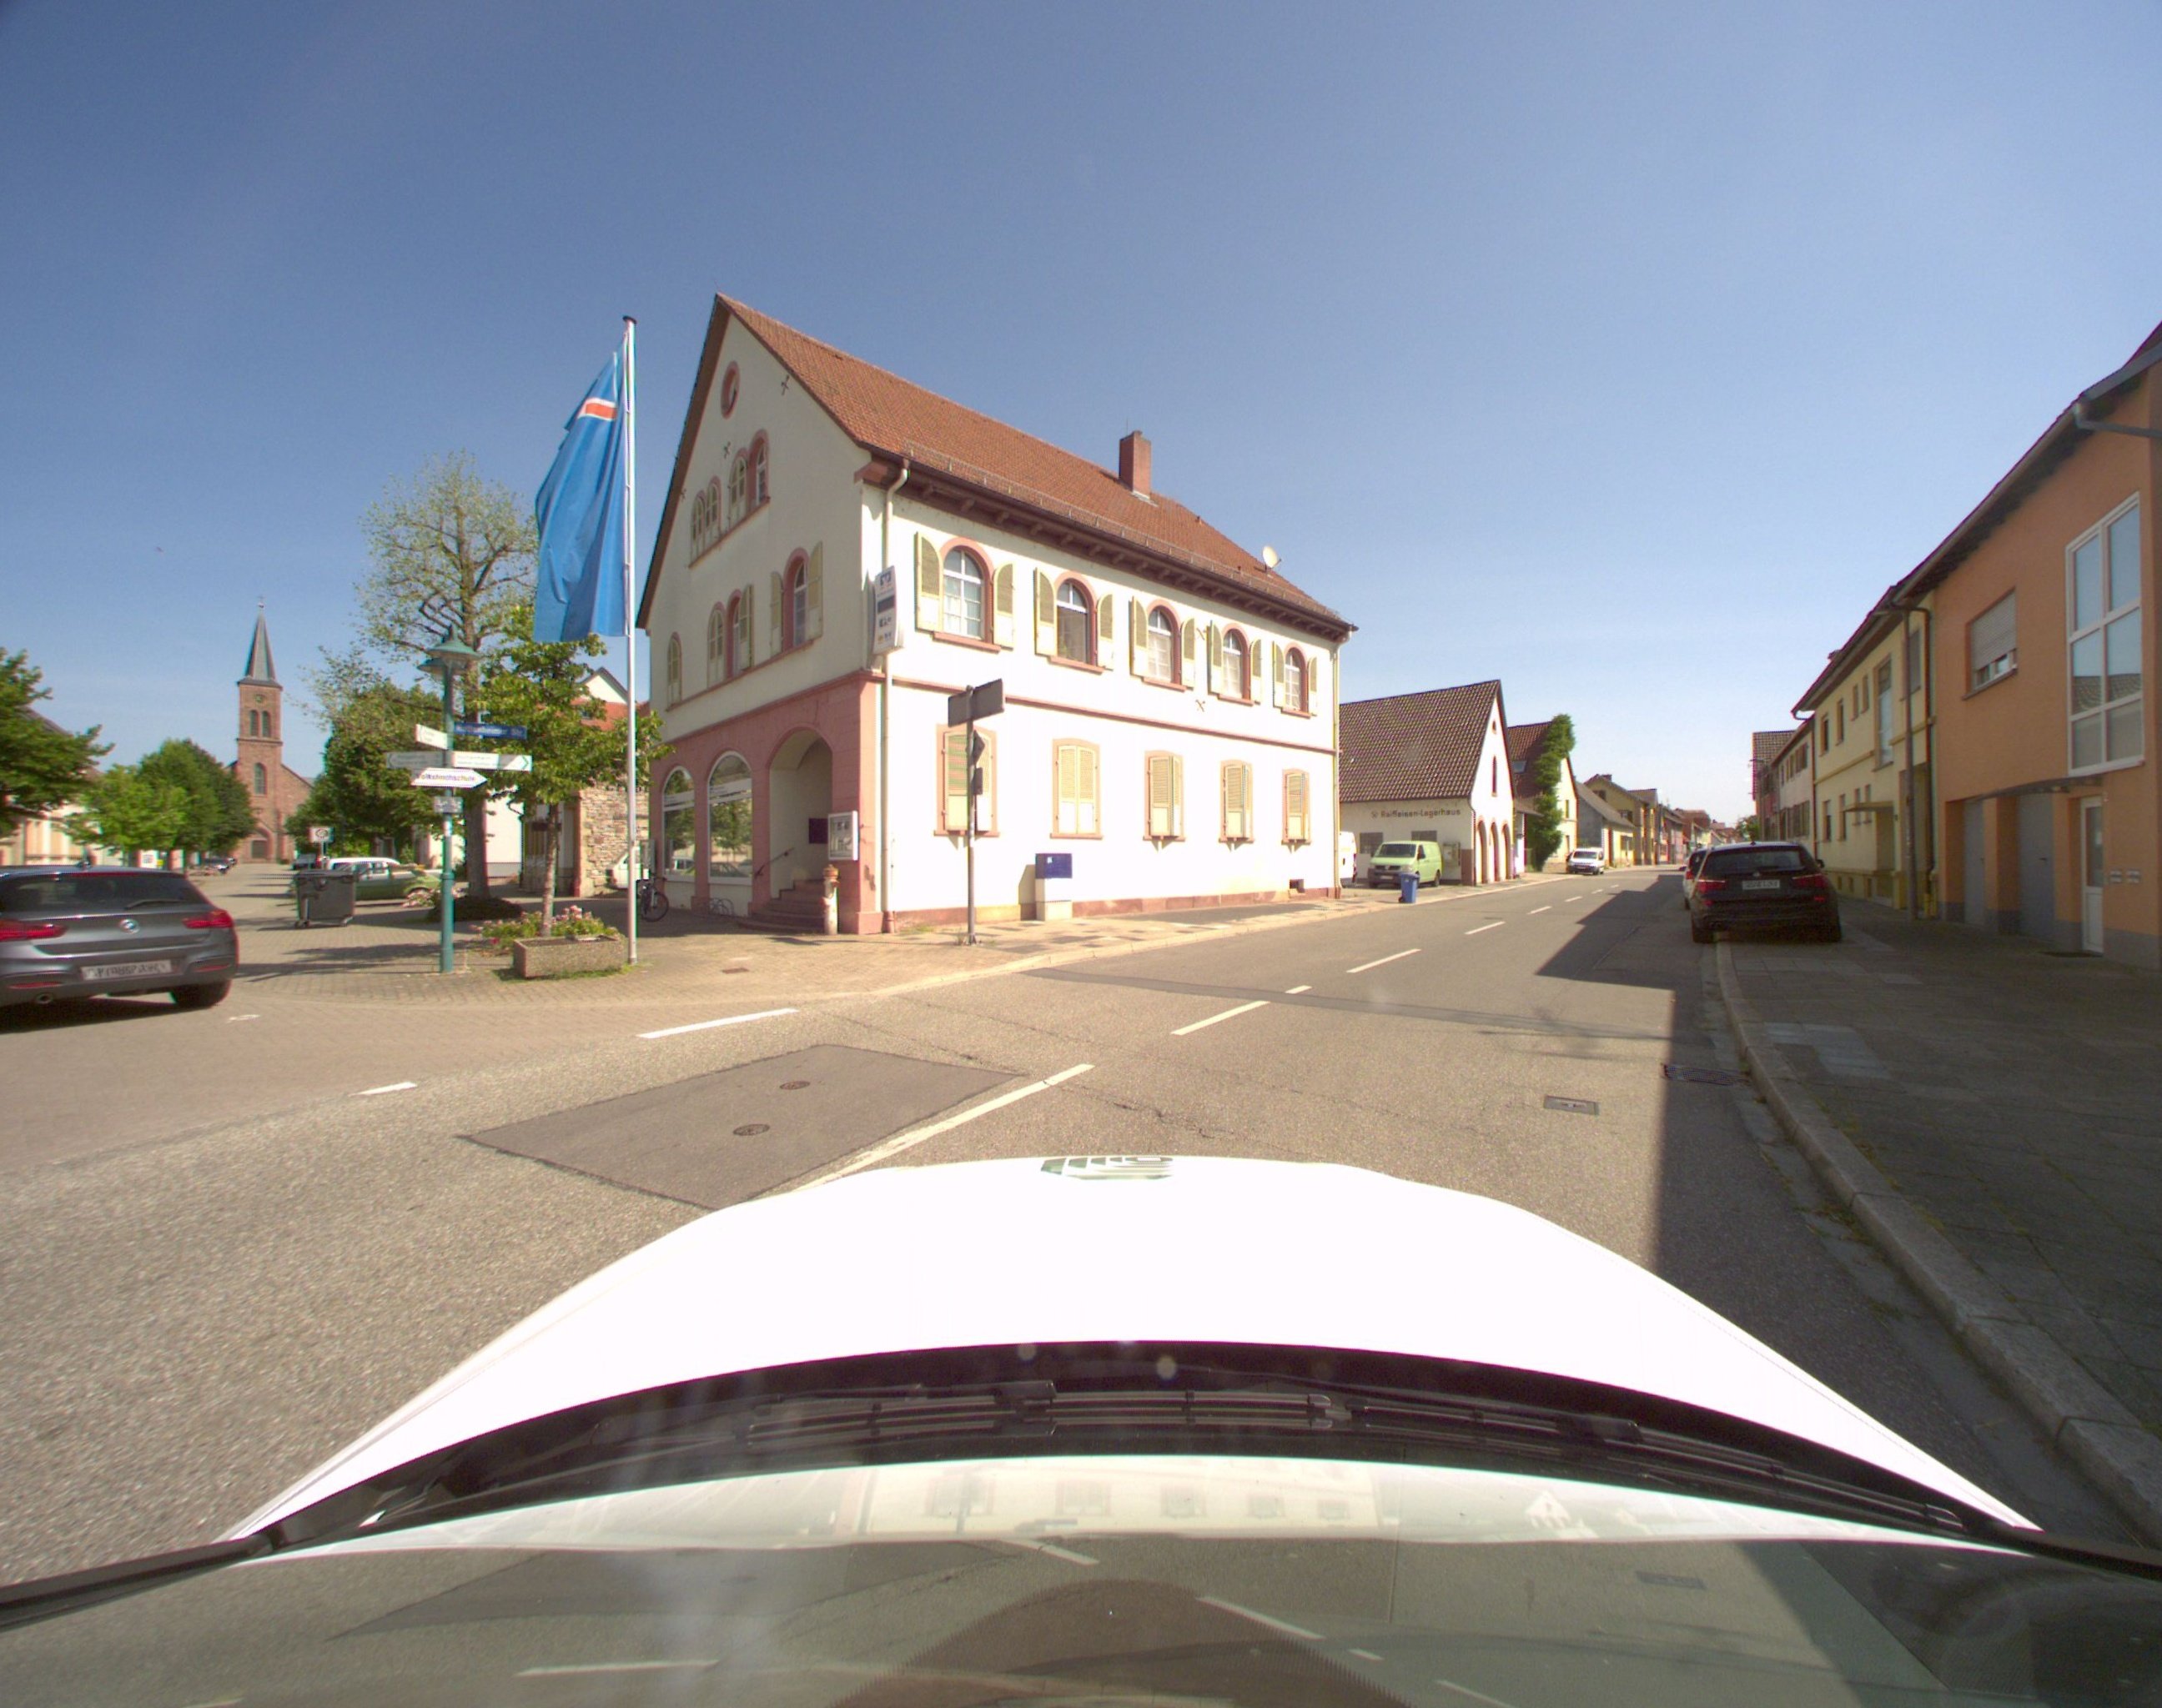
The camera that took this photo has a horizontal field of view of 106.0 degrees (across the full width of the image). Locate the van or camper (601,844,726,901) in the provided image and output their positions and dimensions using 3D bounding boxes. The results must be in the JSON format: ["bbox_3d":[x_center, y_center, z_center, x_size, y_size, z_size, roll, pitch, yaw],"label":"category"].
[{"bbox_3d":[-15.811,0.643,30.895,4.016,2.013,1.979,0,0,-35],"label":"van or camper"}]

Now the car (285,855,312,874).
[{"bbox_3d":[-98.724,1.317,102.763,2.264,2.279,4.448,2,-3,-43],"label":"car"}]

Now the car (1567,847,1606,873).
[{"bbox_3d":[34.101,0.393,54.882,1.837,1.647,4.458,0,0,37],"label":"car"}]

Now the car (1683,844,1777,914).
[{"bbox_3d":[17.806,0.603,22.393,1.880,1.728,4.275,0,0,39],"label":"car"}]

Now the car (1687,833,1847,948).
[{"bbox_3d":[12.205,0.563,14.657,1.826,1.703,5.213,-3,-2,39],"label":"car"}]

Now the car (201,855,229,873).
[{"bbox_3d":[-92.392,1.057,86.916,3.950,1.816,2.012,0,0,43],"label":"car"}]

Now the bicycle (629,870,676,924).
[{"bbox_3d":[-9.812,0.955,18.609,0.598,1.136,1.728,0,0,-40],"label":"bicycle"}]

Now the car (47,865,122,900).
[{"bbox_3d":[-44.288,1.237,36.271,3.949,1.464,2.012,0,-1,40],"label":"car"}]

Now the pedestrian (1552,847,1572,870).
[{"bbox_3d":[33.328,0.321,56.407,1.125,1.552,1.023,0,0,37],"label":"pedestrian"}]

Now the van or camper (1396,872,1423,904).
[{"bbox_3d":[10.182,1.032,25.231,0.584,0.951,0.604,0,0,44],"label":"van or camper"}]

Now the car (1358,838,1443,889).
[{"bbox_3d":[13.466,0.344,34.139,1.974,1.964,4.698,1,1,39],"label":"car"}]

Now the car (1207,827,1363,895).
[{"bbox_3d":[7.196,0.214,29.173,2.134,2.196,5.131,0,0,-41],"label":"car"}]

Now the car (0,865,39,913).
[{"bbox_3d":[-37.407,1.180,27.651,2.012,1.574,3.951,0,0,-44],"label":"car"}]

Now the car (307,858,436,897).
[{"bbox_3d":[-31.001,0.993,35.673,4.187,1.568,1.976,0,0,-43],"label":"car"}]

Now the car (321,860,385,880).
[{"bbox_3d":[-62.462,1.353,69.926,1.975,1.618,4.023,-1,0,45],"label":"car"}]

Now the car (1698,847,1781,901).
[{"bbox_3d":[21.451,0.597,26.672,1.974,1.618,4.025,0,0,37],"label":"car"}]

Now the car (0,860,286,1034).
[{"bbox_3d":[-10.239,0.808,7.920,4.221,1.376,1.749,-1,-2,17],"label":"car"}]

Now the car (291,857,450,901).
[{"bbox_3d":[-29.241,0.974,33.642,4.846,1.623,1.976,0,0,-43],"label":"car"}]

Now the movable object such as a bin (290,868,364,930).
[{"bbox_3d":[-17.264,1.011,18.677,1.198,1.338,0.780,0,0,-40],"label":"movable object such as a bin"}]

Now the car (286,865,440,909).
[{"bbox_3d":[-25.149,1.109,28.624,3.959,1.344,1.976,0,0,-43],"label":"car"}]
